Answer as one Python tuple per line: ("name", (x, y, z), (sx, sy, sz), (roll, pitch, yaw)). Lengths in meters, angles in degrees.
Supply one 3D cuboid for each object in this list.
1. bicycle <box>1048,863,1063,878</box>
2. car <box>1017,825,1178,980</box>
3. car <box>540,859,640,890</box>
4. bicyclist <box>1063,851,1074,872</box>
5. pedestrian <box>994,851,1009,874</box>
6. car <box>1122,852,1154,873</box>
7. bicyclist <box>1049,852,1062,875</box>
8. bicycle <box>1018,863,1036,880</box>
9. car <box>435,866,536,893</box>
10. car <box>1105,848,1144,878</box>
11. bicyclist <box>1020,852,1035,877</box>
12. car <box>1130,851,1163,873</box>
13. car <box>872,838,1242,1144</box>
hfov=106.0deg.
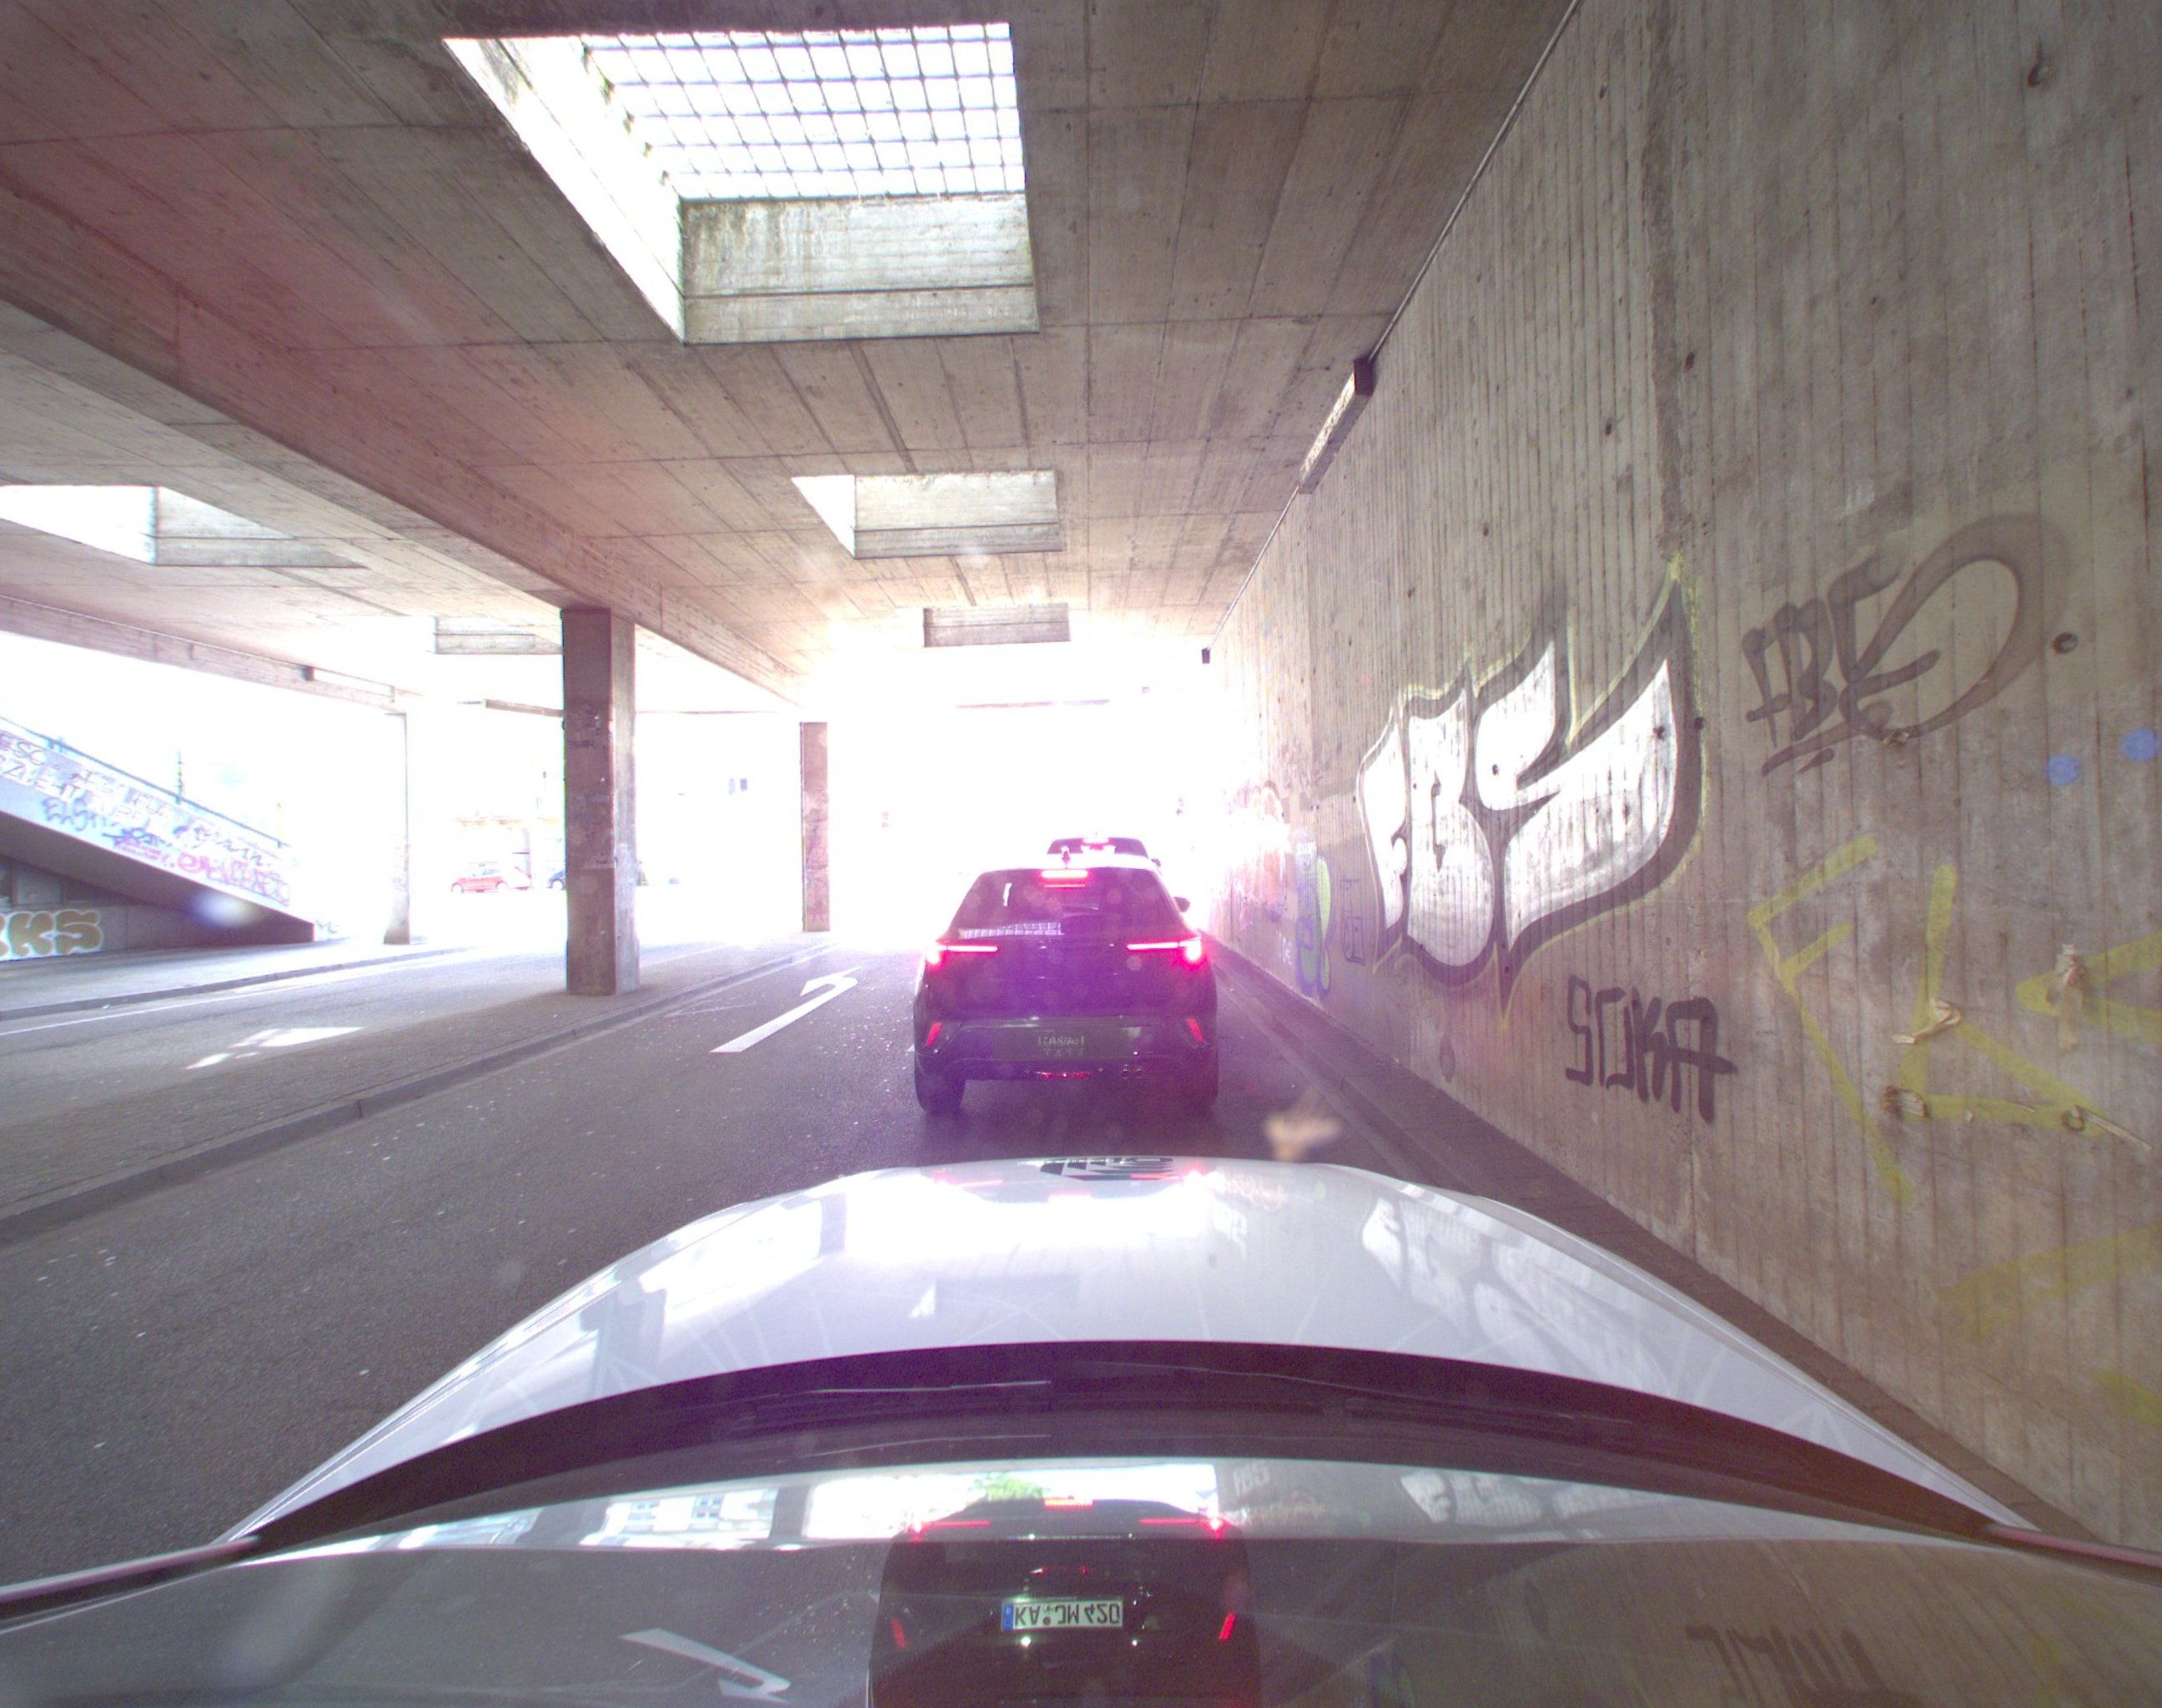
("bicycle", (-1.774, 1.141, 56.845), (0.621, 1.067, 1.694), (0, -1, 11))
("car", (0.270, 0.595, 12.024), (1.938, 1.860, 3.966), (-2, 0, 2))
("car", (-27.221, 1.129, 45.257), (4.114, 1.550, 2.268), (-1, 0, 1))
("bicyclist", (-0.948, 0.549, 61.814), (0.724, 1.581, 0.817), (0, -1, 11))
("pedestrian", (-7.153, 0.771, 73.440), (0.986, 2.013, 1.091), (-1, 0, 10))
("car", (4.395, 0.664, 62.266), (1.955, 1.497, 3.908), (-2, -2, 11))
("bicyclist", (-1.757, 0.683, 56.835), (0.724, 1.581, 0.817), (0, -1, 11))
("bicycle", (-3.401, 1.107, 51.759), (0.727, 1.067, 1.694), (0, -1, 11))
("car", (-33.026, 1.407, 45.257), (3.970, 1.374, 2.192), (-1, 0, 3))
("car", (2.396, 0.515, 44.282), (1.959, 1.497, 3.900), (-1, -2, 4))
("bicyclist", (-3.391, 0.650, 51.794), (0.724, 1.581, 0.817), (0, -1, 11))
("car", (5.577, 0.714, 69.052), (2.206, 1.719, 4.474), (-2, -2, 12))
("car", (-0.063, 0.710, 6.203), (1.875, 1.538, 3.966), (-2, 0, 2))
